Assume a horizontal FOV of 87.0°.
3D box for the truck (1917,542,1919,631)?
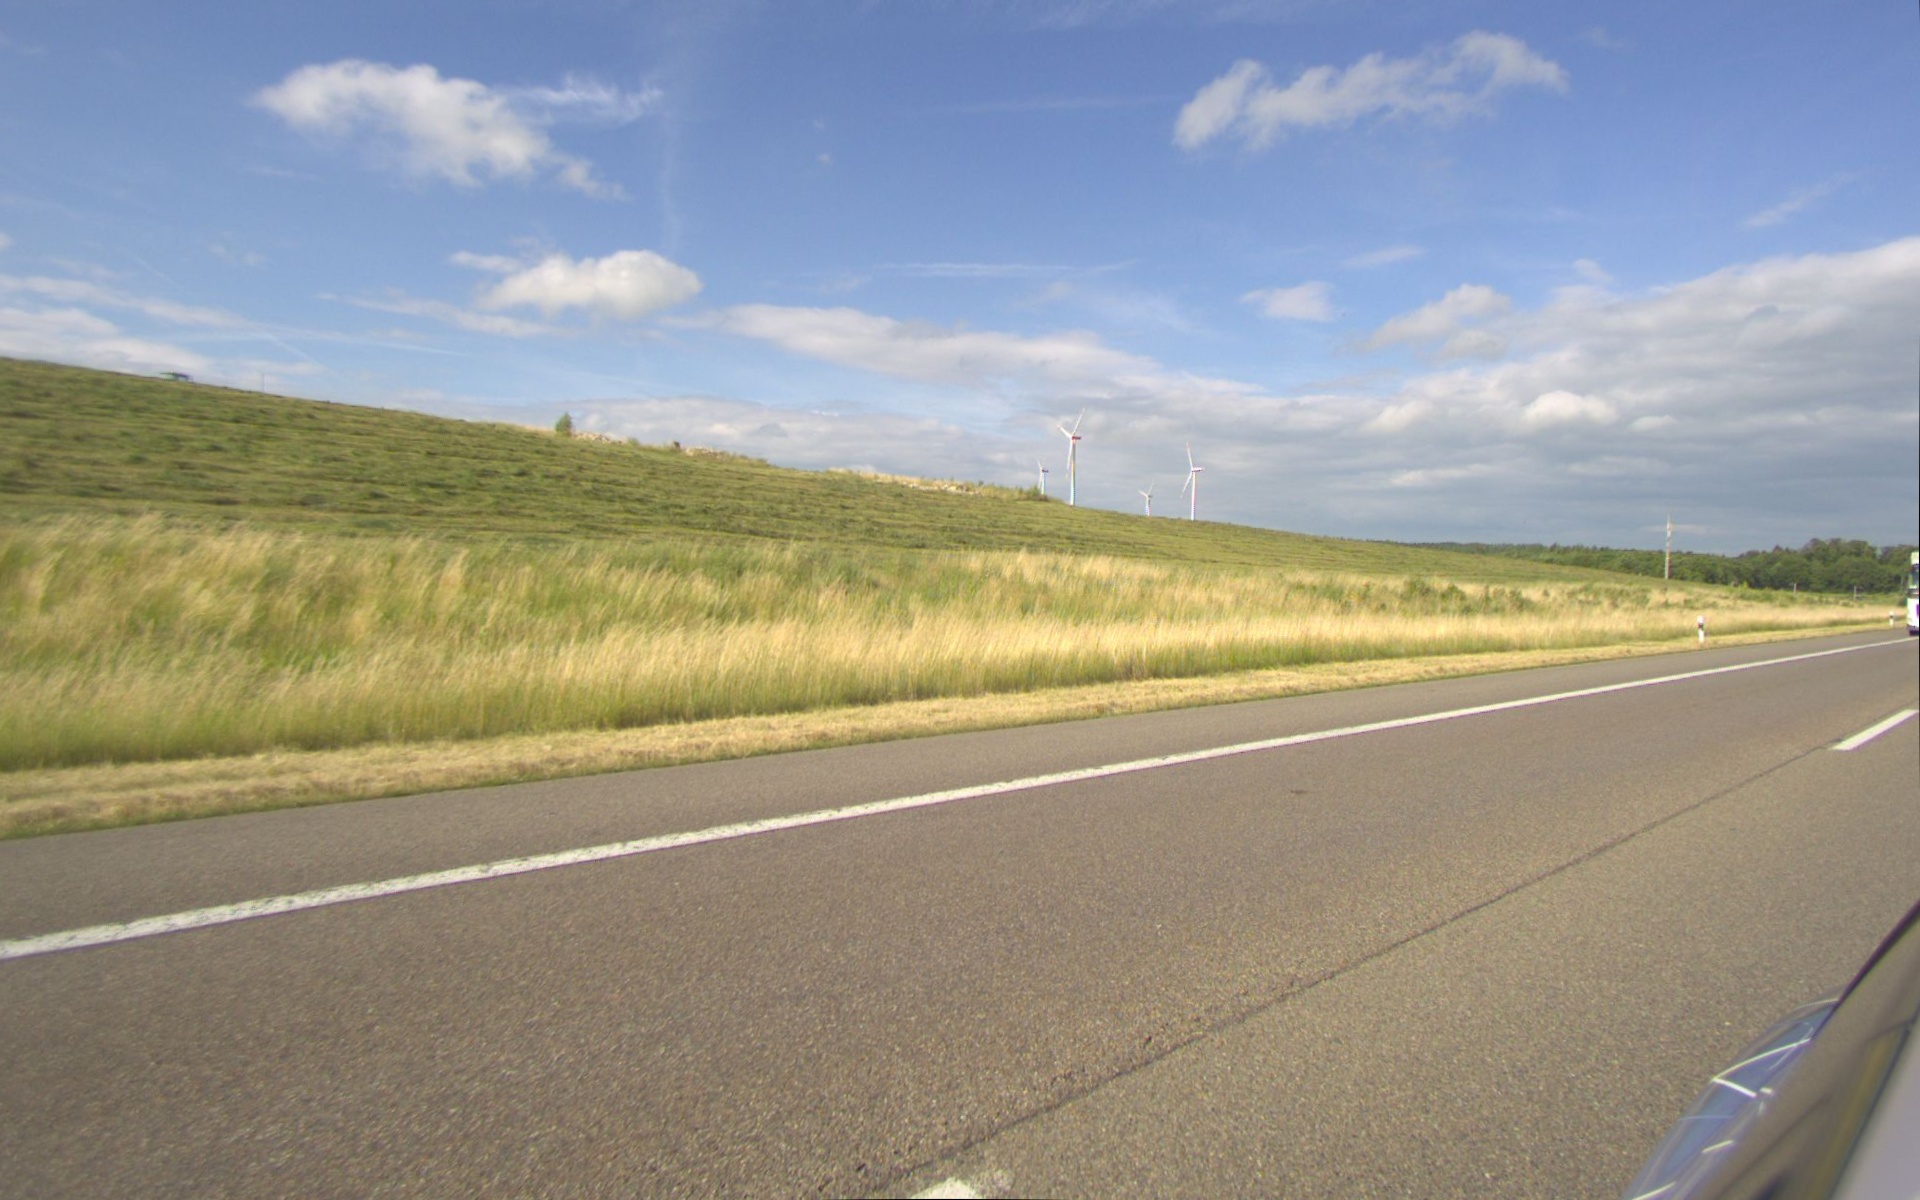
[{"bbox_3d":[47.512,-0.680,47.853,6.012,4.091,2.606,-1,0,-40],"label":"truck"}]
